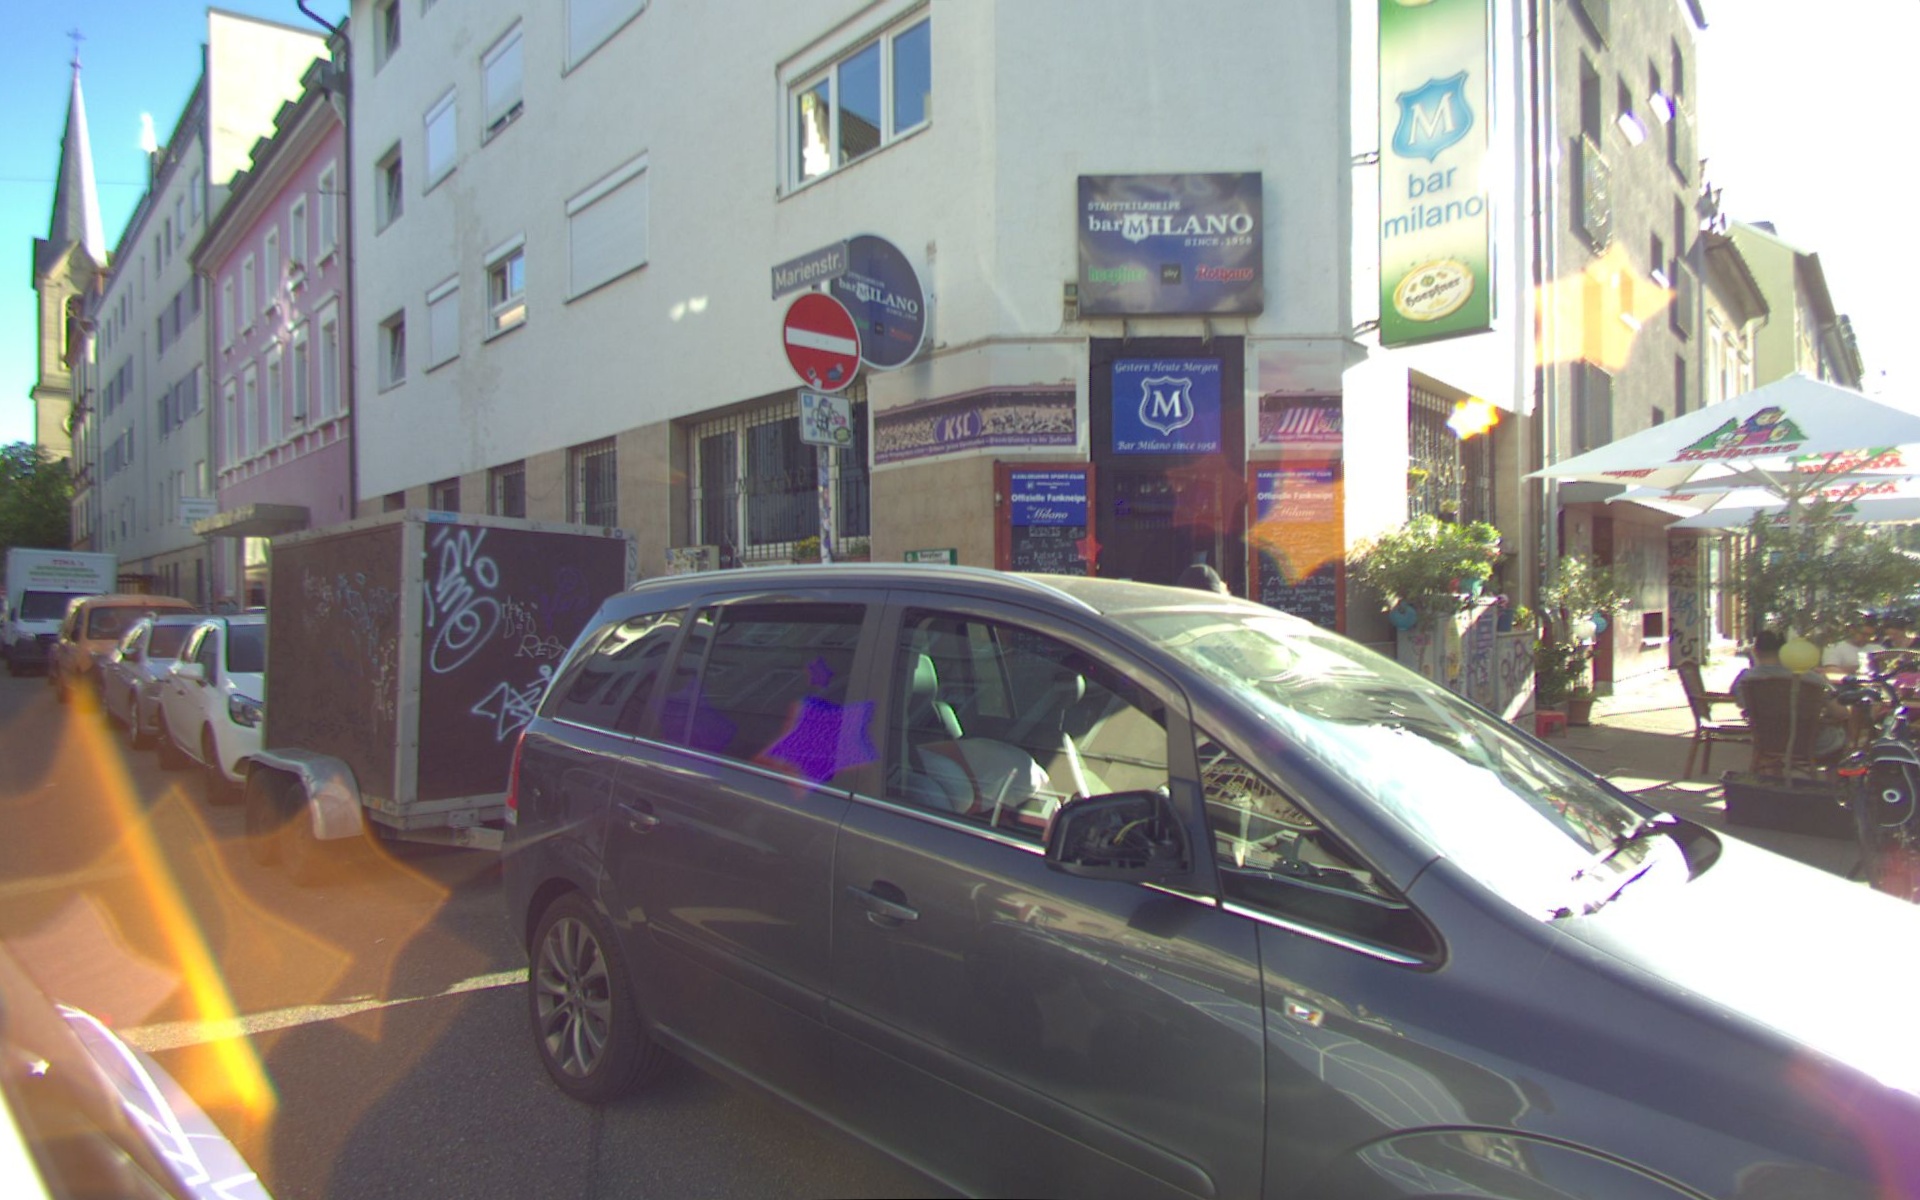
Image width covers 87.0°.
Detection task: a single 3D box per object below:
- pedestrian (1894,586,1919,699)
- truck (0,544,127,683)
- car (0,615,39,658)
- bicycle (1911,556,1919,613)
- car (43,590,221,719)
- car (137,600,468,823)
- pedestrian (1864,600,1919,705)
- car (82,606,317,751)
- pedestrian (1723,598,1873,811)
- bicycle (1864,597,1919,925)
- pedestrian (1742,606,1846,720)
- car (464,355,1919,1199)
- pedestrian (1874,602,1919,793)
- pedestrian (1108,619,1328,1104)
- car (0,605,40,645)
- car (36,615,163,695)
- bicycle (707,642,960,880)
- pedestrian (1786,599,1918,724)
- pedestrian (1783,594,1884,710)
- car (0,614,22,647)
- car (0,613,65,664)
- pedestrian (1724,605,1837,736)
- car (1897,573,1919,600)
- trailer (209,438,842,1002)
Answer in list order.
[{"bbox_3d":[11.192,0.481,11.388,0.670,1.275,0.724,-2,1,-3],"label":"pedestrian"},{"bbox_3d":[-23.835,0.331,26.675,2.264,3.207,7.049,0,-1,-45],"label":"truck"},{"bbox_3d":[-35.328,1.308,37.345,3.915,1.502,1.664,-1,-3,44],"label":"car"},{"bbox_3d":[19.136,-0.305,18.918,0.603,1.078,1.930,-2,1,-41],"label":"bicycle"},{"bbox_3d":[-13.678,0.795,16.627,4.245,1.859,1.782,0,-1,44],"label":"car"},{"bbox_3d":[-5.987,0.805,9.039,3.819,1.566,1.658,0,-1,44],"label":"car"},{"bbox_3d":[10.111,0.538,10.753,0.713,1.061,0.679,-2,1,-42],"label":"pedestrian"},{"bbox_3d":[-9.632,0.887,12.675,4.532,1.508,1.655,-2,-2,44],"label":"car"},{"bbox_3d":[5.483,0.638,6.621,0.678,1.275,0.661,-2,1,-42],"label":"pedestrian"},{"bbox_3d":[5.130,0.677,4.943,0.929,1.369,2.447,-1,0,45],"label":"bicycle"},{"bbox_3d":[8.846,0.651,10.756,0.535,1.153,0.660,-2,1,-2],"label":"pedestrian"},{"bbox_3d":[0.418,0.606,2.658,4.166,1.617,1.703,-2,-2,43],"label":"car"},{"bbox_3d":[6.957,0.667,7.111,0.838,1.275,0.707,-2,1,-42],"label":"pedestrian"},{"bbox_3d":[1.009,0.926,3.953,0.621,1.656,0.581,-2,3,-40],"label":"pedestrian"},{"bbox_3d":[-51.152,1.334,54.350,4.561,2.028,1.973,-1,1,41],"label":"car"},{"bbox_3d":[-17.855,1.059,20.946,3.661,1.477,1.664,0,-1,44],"label":"car"},{"bbox_3d":[-0.759,0.847,5.827,1.460,1.147,0.570,-1,1,39],"label":"bicycle"},{"bbox_3d":[8.706,0.581,9.900,0.679,1.153,0.660,-2,1,-2],"label":"pedestrian"},{"bbox_3d":[10.088,0.578,11.705,0.649,1.275,0.617,-2,1,-16],"label":"pedestrian"},{"bbox_3d":[-47.546,1.484,49.535,4.561,1.542,1.902,-1,1,41],"label":"car"},{"bbox_3d":[-31.236,1.267,33.808,3.915,1.600,1.664,-1,-3,44],"label":"car"},{"bbox_3d":[7.803,0.640,9.629,0.649,1.163,0.682,-2,1,-37],"label":"pedestrian"},{"bbox_3d":[57.237,-0.840,60.487,1.772,1.587,4.099,-1,0,43],"label":"car"},{"bbox_3d":[-2.751,0.460,5.810,4.362,2.076,1.644,0,-1,42],"label":"trailer"}]
